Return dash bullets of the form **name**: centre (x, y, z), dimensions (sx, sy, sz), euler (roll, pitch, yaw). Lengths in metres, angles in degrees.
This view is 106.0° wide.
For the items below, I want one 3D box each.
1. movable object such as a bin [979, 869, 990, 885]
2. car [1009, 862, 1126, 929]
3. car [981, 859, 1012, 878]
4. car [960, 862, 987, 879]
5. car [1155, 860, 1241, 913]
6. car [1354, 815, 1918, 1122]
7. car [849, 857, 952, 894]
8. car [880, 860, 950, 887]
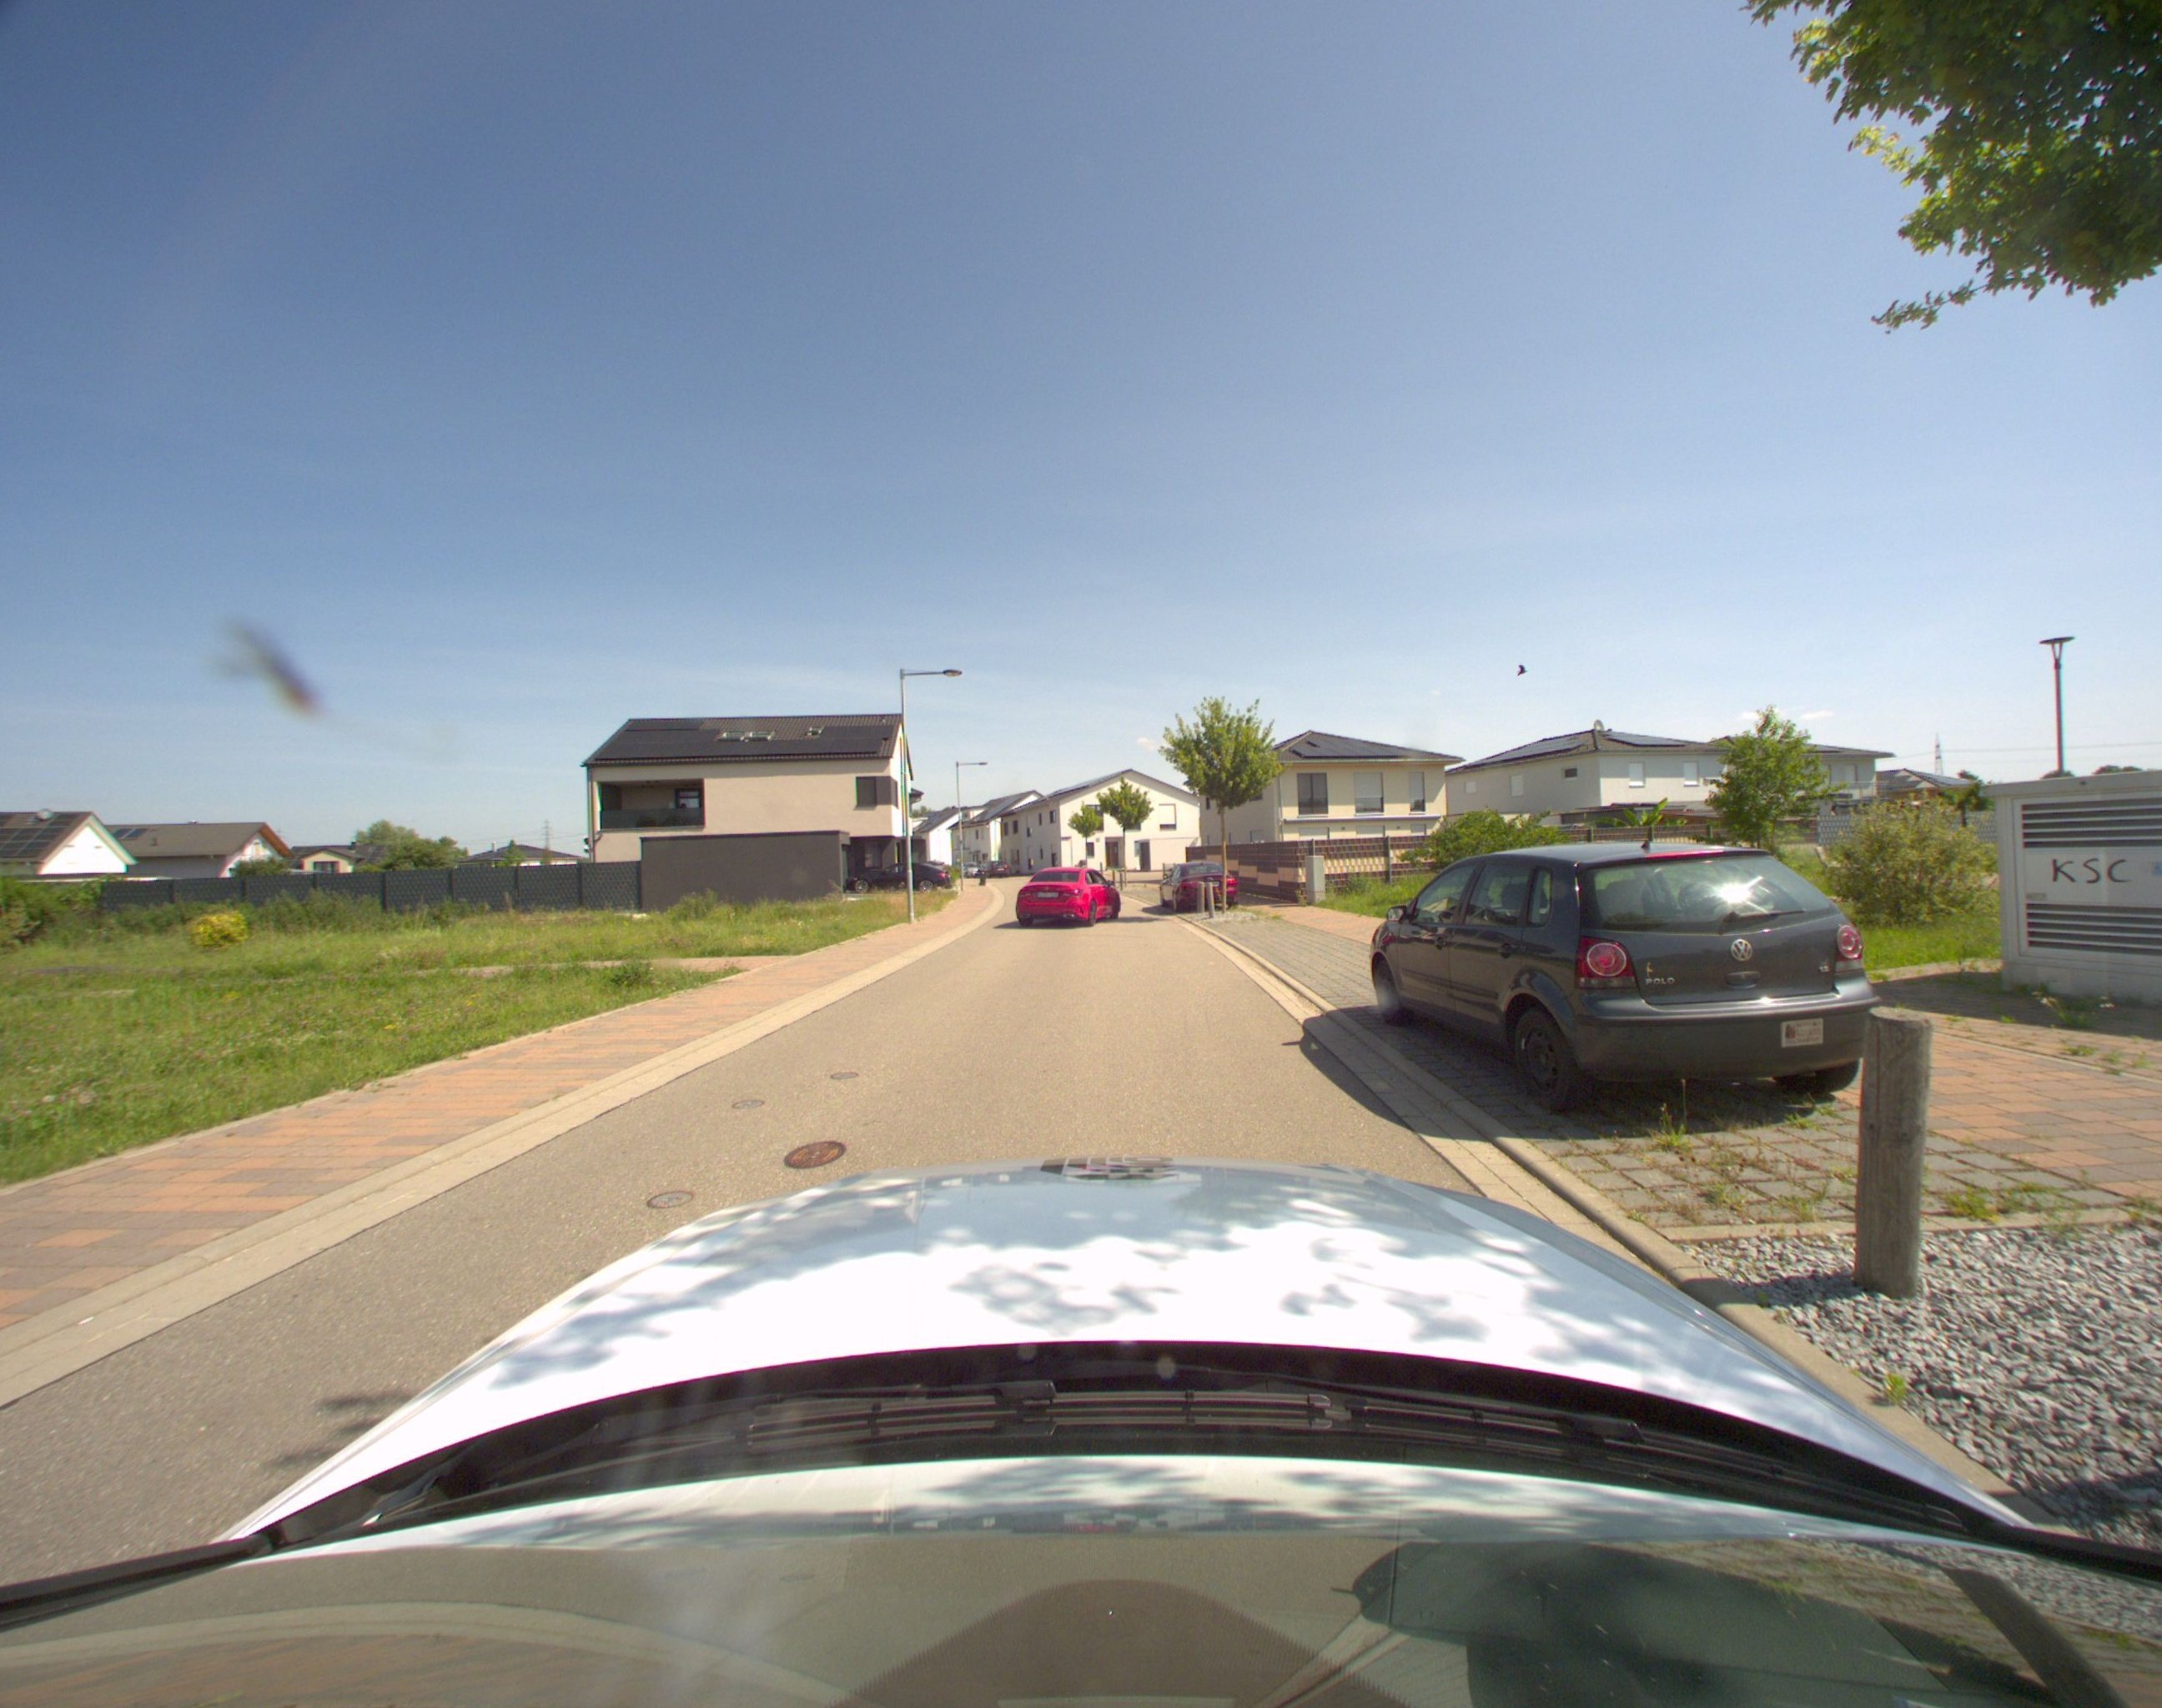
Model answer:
- **movable object such as a bin**: centre (-5.658, 1.328, 47.620), dimensions (0.532, 0.936, 0.526), euler (0, -1, 3)
- **car**: centre (-0.202, 0.968, 20.578), dimensions (1.750, 1.438, 4.537), euler (-1, 0, 15)
- **car**: centre (-7.006, 1.199, 67.374), dimensions (1.731, 1.423, 3.977), euler (-3, 0, -17)
- **car**: centre (-10.154, 1.563, 76.751), dimensions (1.682, 1.464, 3.918), euler (-3, 0, -19)
- **car**: centre (3.452, 0.914, 24.856), dimensions (1.750, 1.363, 4.571), euler (-4, 0, -2)
- **car**: centre (3.321, 0.566, 5.817), dimensions (1.592, 1.475, 3.676), euler (-1, 0, 2)
- **car**: centre (-8.145, 0.955, 37.103), dimensions (4.369, 1.631, 1.767), euler (0, -1, -6)
- **car**: centre (-10.144, 1.181, 49.985), dimensions (3.979, 1.486, 1.752), euler (-2, 0, -4)
